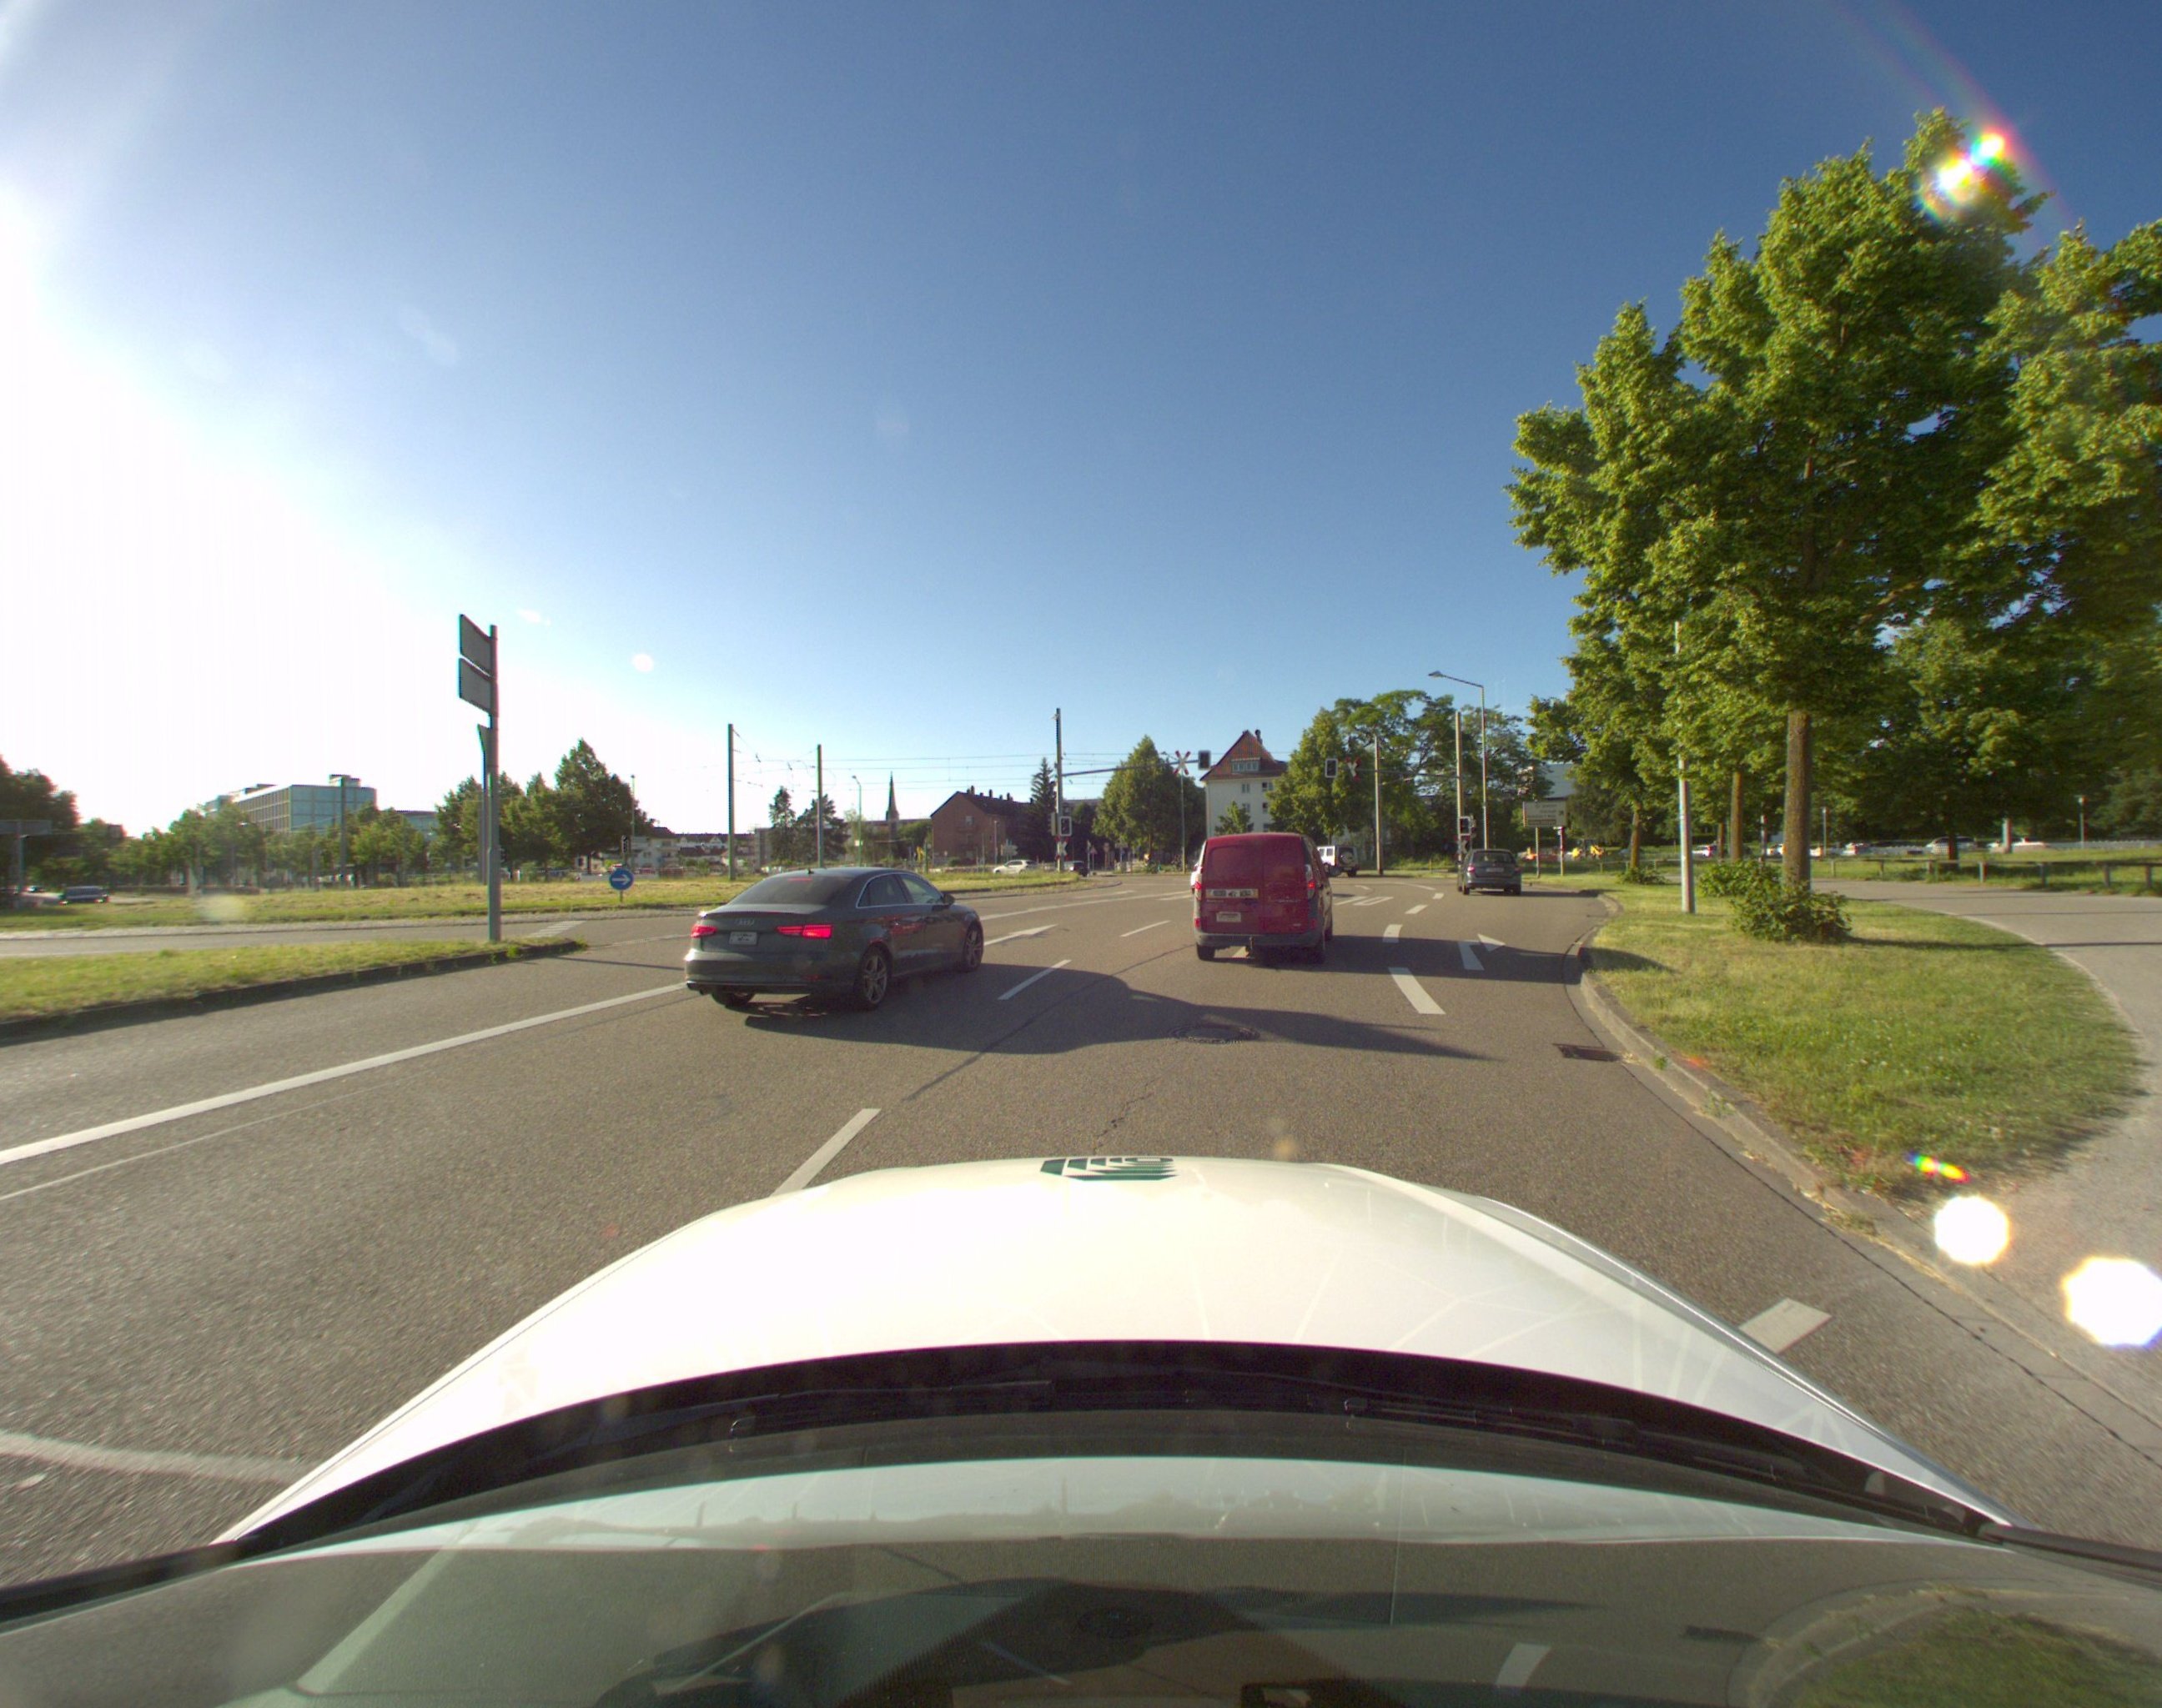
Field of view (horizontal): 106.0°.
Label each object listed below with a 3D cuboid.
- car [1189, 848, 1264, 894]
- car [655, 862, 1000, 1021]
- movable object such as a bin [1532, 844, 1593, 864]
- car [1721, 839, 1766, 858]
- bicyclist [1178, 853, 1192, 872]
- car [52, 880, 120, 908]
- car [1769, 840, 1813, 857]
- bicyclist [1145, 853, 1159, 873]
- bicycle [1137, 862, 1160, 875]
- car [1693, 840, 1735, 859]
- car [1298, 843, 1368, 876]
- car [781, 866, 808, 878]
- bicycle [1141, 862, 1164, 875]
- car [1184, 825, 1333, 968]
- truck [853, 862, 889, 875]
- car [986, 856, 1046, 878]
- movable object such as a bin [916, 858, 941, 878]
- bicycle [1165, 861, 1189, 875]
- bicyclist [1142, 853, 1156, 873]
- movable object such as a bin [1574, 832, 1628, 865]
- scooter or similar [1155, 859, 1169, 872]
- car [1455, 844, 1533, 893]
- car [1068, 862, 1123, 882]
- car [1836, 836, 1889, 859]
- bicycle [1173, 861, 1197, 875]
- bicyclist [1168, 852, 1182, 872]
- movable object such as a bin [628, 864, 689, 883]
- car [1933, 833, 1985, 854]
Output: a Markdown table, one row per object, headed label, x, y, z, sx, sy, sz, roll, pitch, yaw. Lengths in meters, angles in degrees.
| label | x | y | z | sx | sy | sz | roll | pitch | yaw |
| --- | --- | --- | --- | --- | --- | --- | --- | --- | --- |
| car | 5.053 | 0.583 | 27.830 | 1.787 | 1.461 | 3.829 | 0 | -1 | 22 |
| car | -2.534 | 0.802 | 9.430 | 1.747 | 1.380 | 4.375 | -1 | -1 | 15 |
| movable object such as a bin | 49.570 | 0.008 | 83.904 | 4.977 | 1.948 | 2.244 | 0 | -2 | 8 |
| car | 66.059 | -0.535 | 81.291 | 1.978 | 1.769 | 4.016 | -1 | -2 | 16 |
| bicyclist | 9.809 | 0.816 | 77.119 | 0.817 | 1.852 | 1.013 | 2 | -3 | -45 |
| car | -68.622 | 2.732 | 56.148 | 4.949 | 1.785 | 2.478 | -1 | -1 | 33 |
| car | 70.128 | -0.513 | 80.501 | 1.813 | 1.556 | 3.823 | -1 | -2 | 17 |
| bicyclist | 6.958 | 0.891 | 79.443 | 1.013 | 1.852 | 0.890 | -2 | -3 | 44 |
| bicycle | 6.495 | 1.385 | 78.407 | 2.181 | 1.266 | 0.890 | -2 | -3 | 43 |
| car | 64.213 | -0.453 | 82.660 | 1.978 | 1.723 | 4.016 | -1 | -2 | 16 |
| car | 15.391 | 0.357 | 50.033 | 1.998 | 1.897 | 4.733 | -1 | -1 | -12 |
| car | -48.927 | 3.167 | 138.970 | 4.441 | 2.014 | 2.012 | -1 | -2 | 32 |
| bicycle | 6.974 | 1.417 | 79.381 | 2.181 | 1.266 | 0.890 | -2 | -3 | 43 |
| car | 2.851 | 0.523 | 12.425 | 1.788 | 1.813 | 3.828 | 0 | 0 | 19 |
| truck | -34.198 | 2.326 | 132.423 | 6.352 | 2.014 | 2.185 | -1 | -3 | 39 |
| car | -5.133 | 1.014 | 64.390 | 4.351 | 1.639 | 2.013 | -1 | 0 | 33 |
| movable object such as a bin | -21.973 | 2.018 | 117.140 | 2.433 | 2.774 | 3.963 | 1 | -2 | -28 |
| bicycle | 8.959 | 1.315 | 76.237 | 2.182 | 1.266 | 0.823 | -2 | -3 | 45 |
| bicyclist | 6.520 | 0.856 | 78.390 | 1.013 | 1.852 | 0.890 | -2 | -3 | 44 |
| movable object such as a bin | 47.258 | -0.466 | 74.173 | 1.984 | 2.789 | 5.054 | 0 | -2 | 5 |
| scooter or similar | 7.925 | 1.097 | 79.910 | 1.248 | 1.248 | 0.447 | -3 | -4 | 38 |
| car | 13.223 | 0.418 | 26.270 | 1.699 | 1.436 | 4.172 | -1 | 0 | 20 |
| car | 1.169 | 1.500 | 68.673 | 4.352 | 1.539 | 2.012 | -1 | 0 | 43 |
| car | 75.550 | -0.576 | 78.774 | 1.978 | 2.100 | 4.016 | -1 | -2 | 16 |
| bicycle | 9.803 | 1.343 | 77.105 | 2.182 | 1.266 | 0.823 | -2 | -3 | 45 |
| bicyclist | 8.849 | 0.791 | 76.377 | 0.817 | 1.852 | 1.013 | 2 | -3 | -45 |
| movable object such as a bin | -66.662 | 3.106 | 128.586 | 2.905 | 2.782 | 7.983 | -2 | -1 | 38 |
| car | 82.967 | -1.004 | 76.990 | 1.675 | 1.779 | 3.865 | -1 | -2 | 19 |
